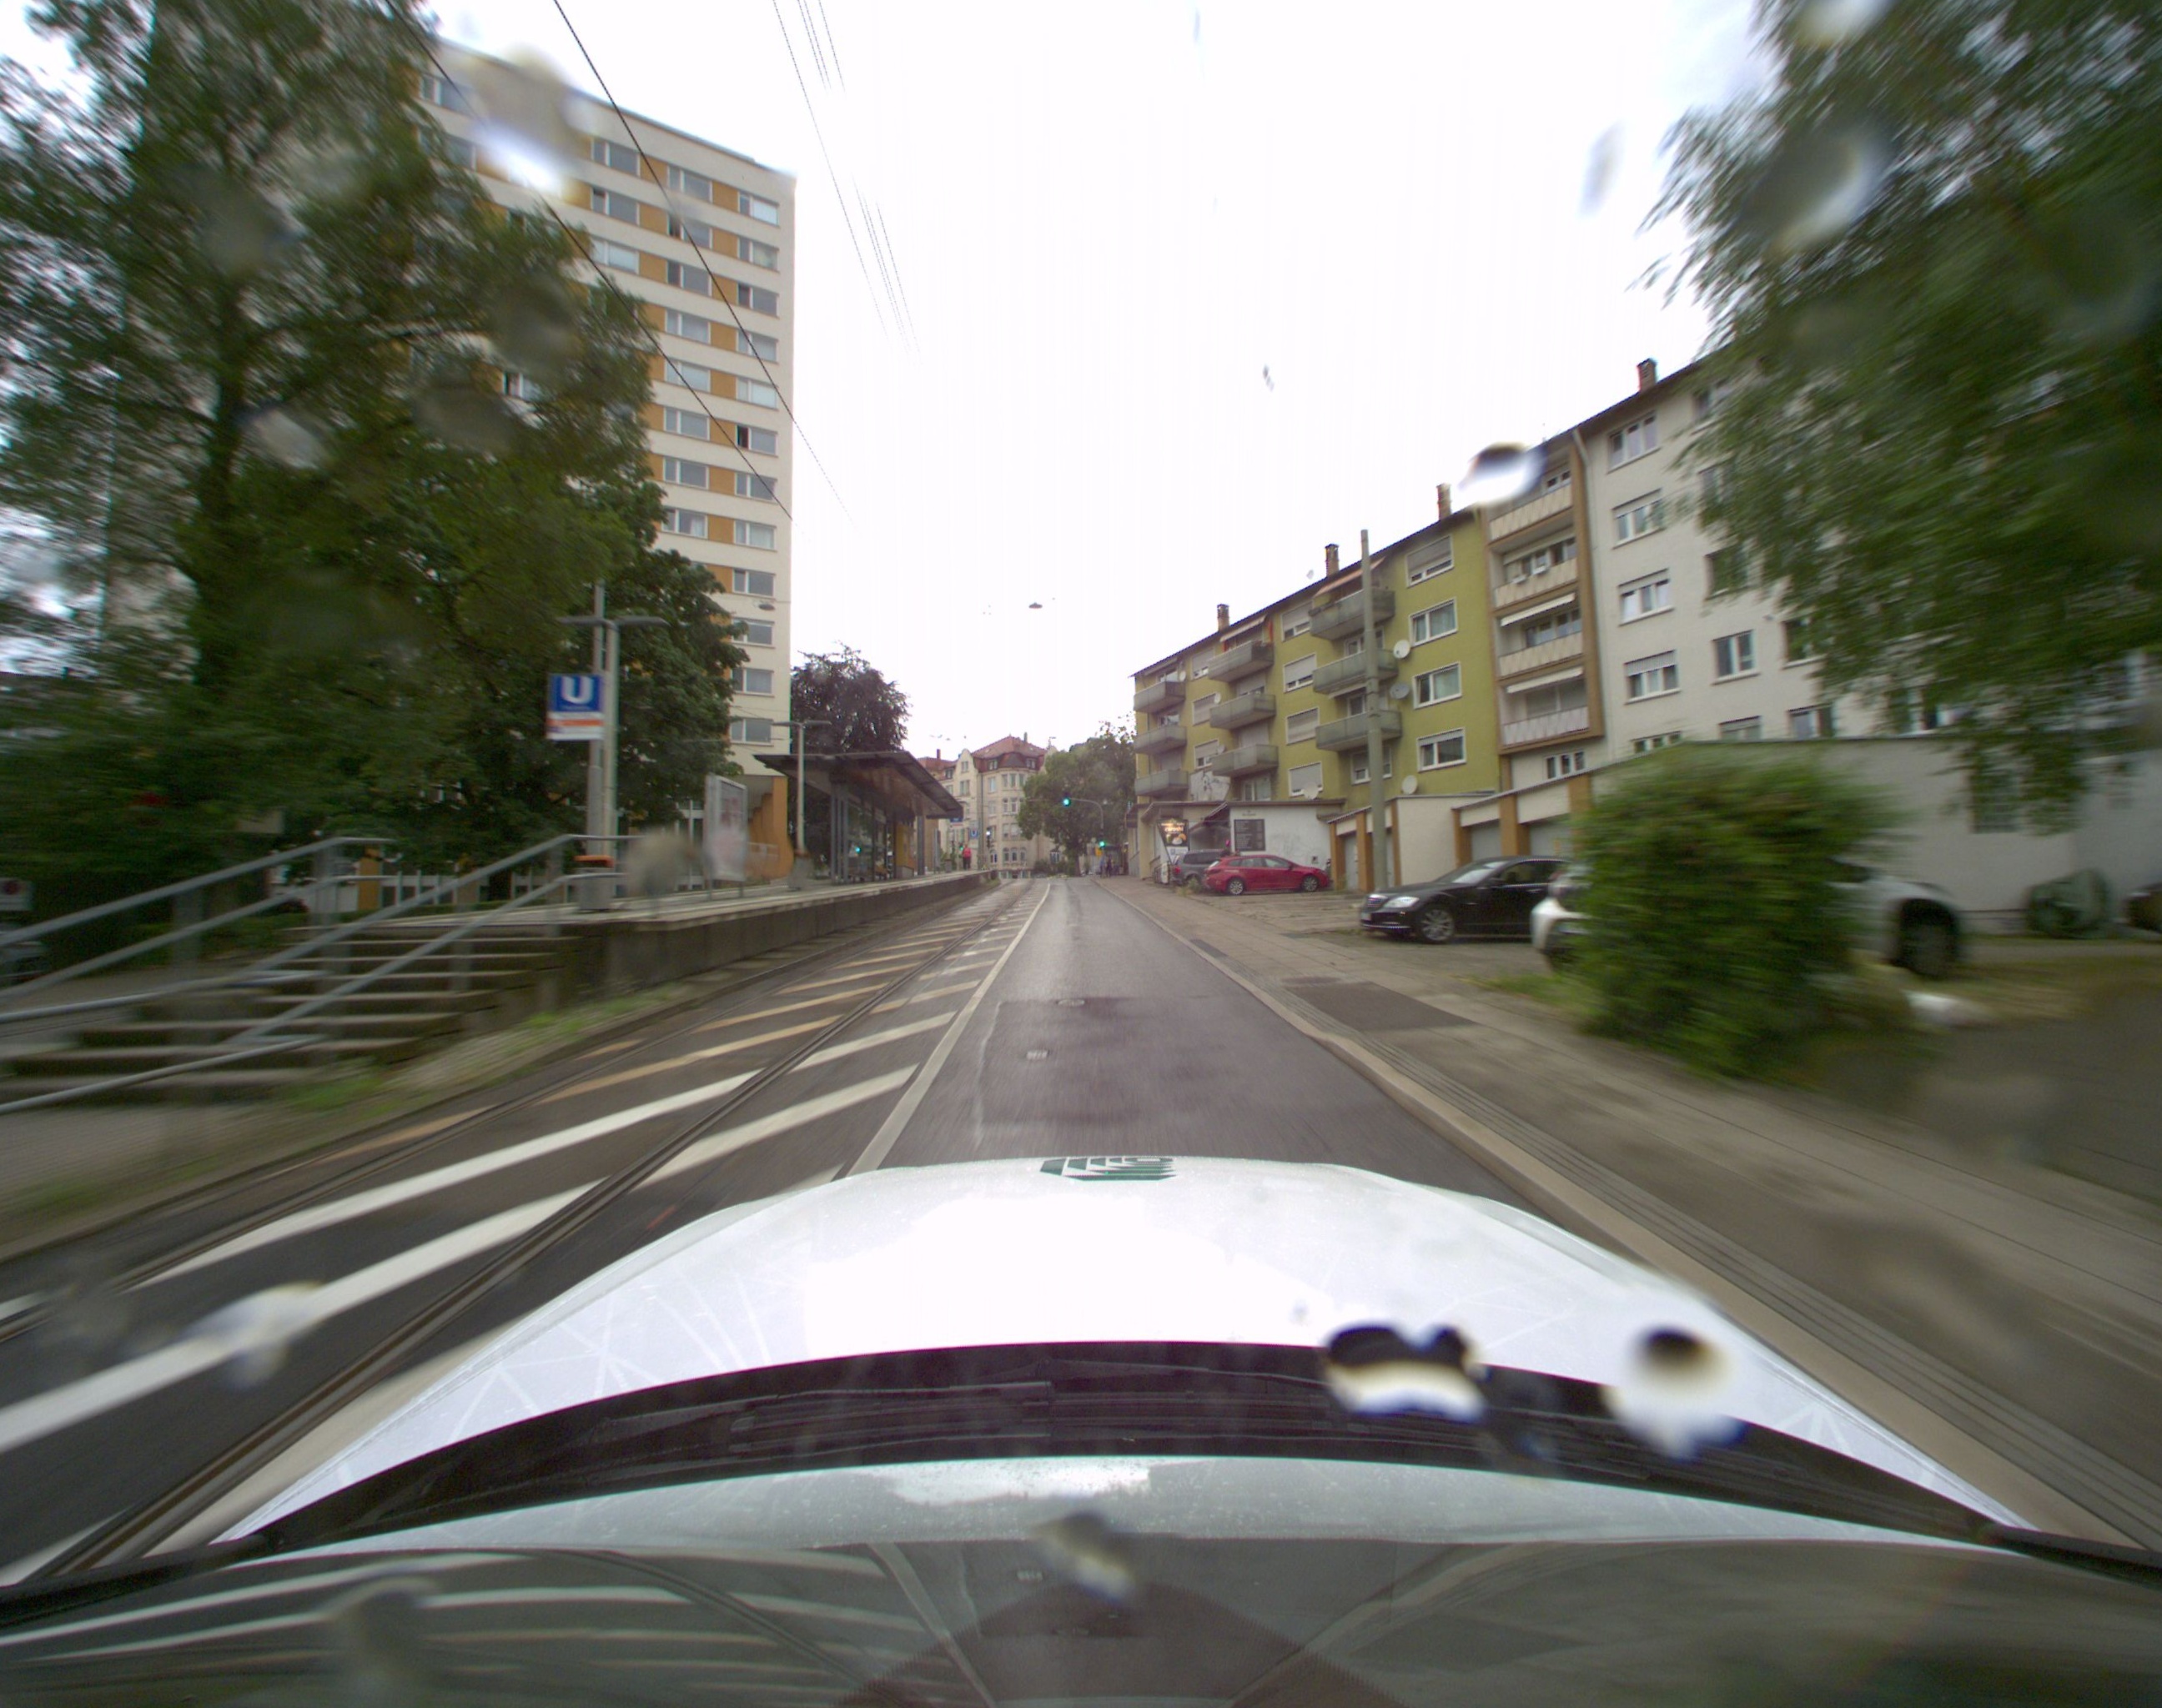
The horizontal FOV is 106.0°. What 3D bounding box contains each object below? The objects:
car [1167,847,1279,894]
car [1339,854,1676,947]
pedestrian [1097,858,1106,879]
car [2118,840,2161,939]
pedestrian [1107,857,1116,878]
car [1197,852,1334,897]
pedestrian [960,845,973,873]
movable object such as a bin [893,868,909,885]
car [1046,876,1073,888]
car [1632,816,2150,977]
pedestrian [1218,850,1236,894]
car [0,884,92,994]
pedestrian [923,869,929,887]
[{"bbox_3d":[5.811,0.684,33.717,4.314,1.674,1.780,-2,-1,0],"label":"car"},{"bbox_3d":[7.295,0.765,14.294,4.917,1.436,1.974,0,1,-1],"label":"car"},{"bbox_3d":[1.533,1.071,60.476,0.586,1.554,0.649,-3,-1,-2],"label":"pedestrian"},{"bbox_3d":[19.025,0.562,11.951,1.750,1.604,4.393,1,-1,-21],"label":"car"},{"bbox_3d":[2.300,0.998,60.937,0.544,1.554,0.558,-3,-1,-4],"label":"pedestrian"},{"bbox_3d":[6.729,0.748,29.988,4.557,1.438,1.763,-2,-1,-2],"label":"car"},{"bbox_3d":[-6.589,0.290,46.890,0.669,1.548,0.770,-1,-1,-2],"label":"pedestrian"},{"bbox_3d":[-15.514,1.952,70.280,1.017,1.434,1.427,0,-1,0],"label":"movable object such as a bin"},{"bbox_3d":[-3.130,4.095,117.771,3.691,1.508,1.716,-1,-2,-44],"label":"car"},{"bbox_3d":[8.349,0.421,8.609,3.982,1.467,1.813,1,-1,-7],"label":"car"},{"bbox_3d":[5.783,0.700,32.283,0.602,1.714,0.723,-3,-1,11],"label":"pedestrian"},{"bbox_3d":[-17.553,1.293,12.233,4.442,1.542,1.954,-2,-1,19],"label":"car"},{"bbox_3d":[-15.360,2.370,80.682,0.568,1.684,0.773,-2,-3,-9],"label":"pedestrian"}]
